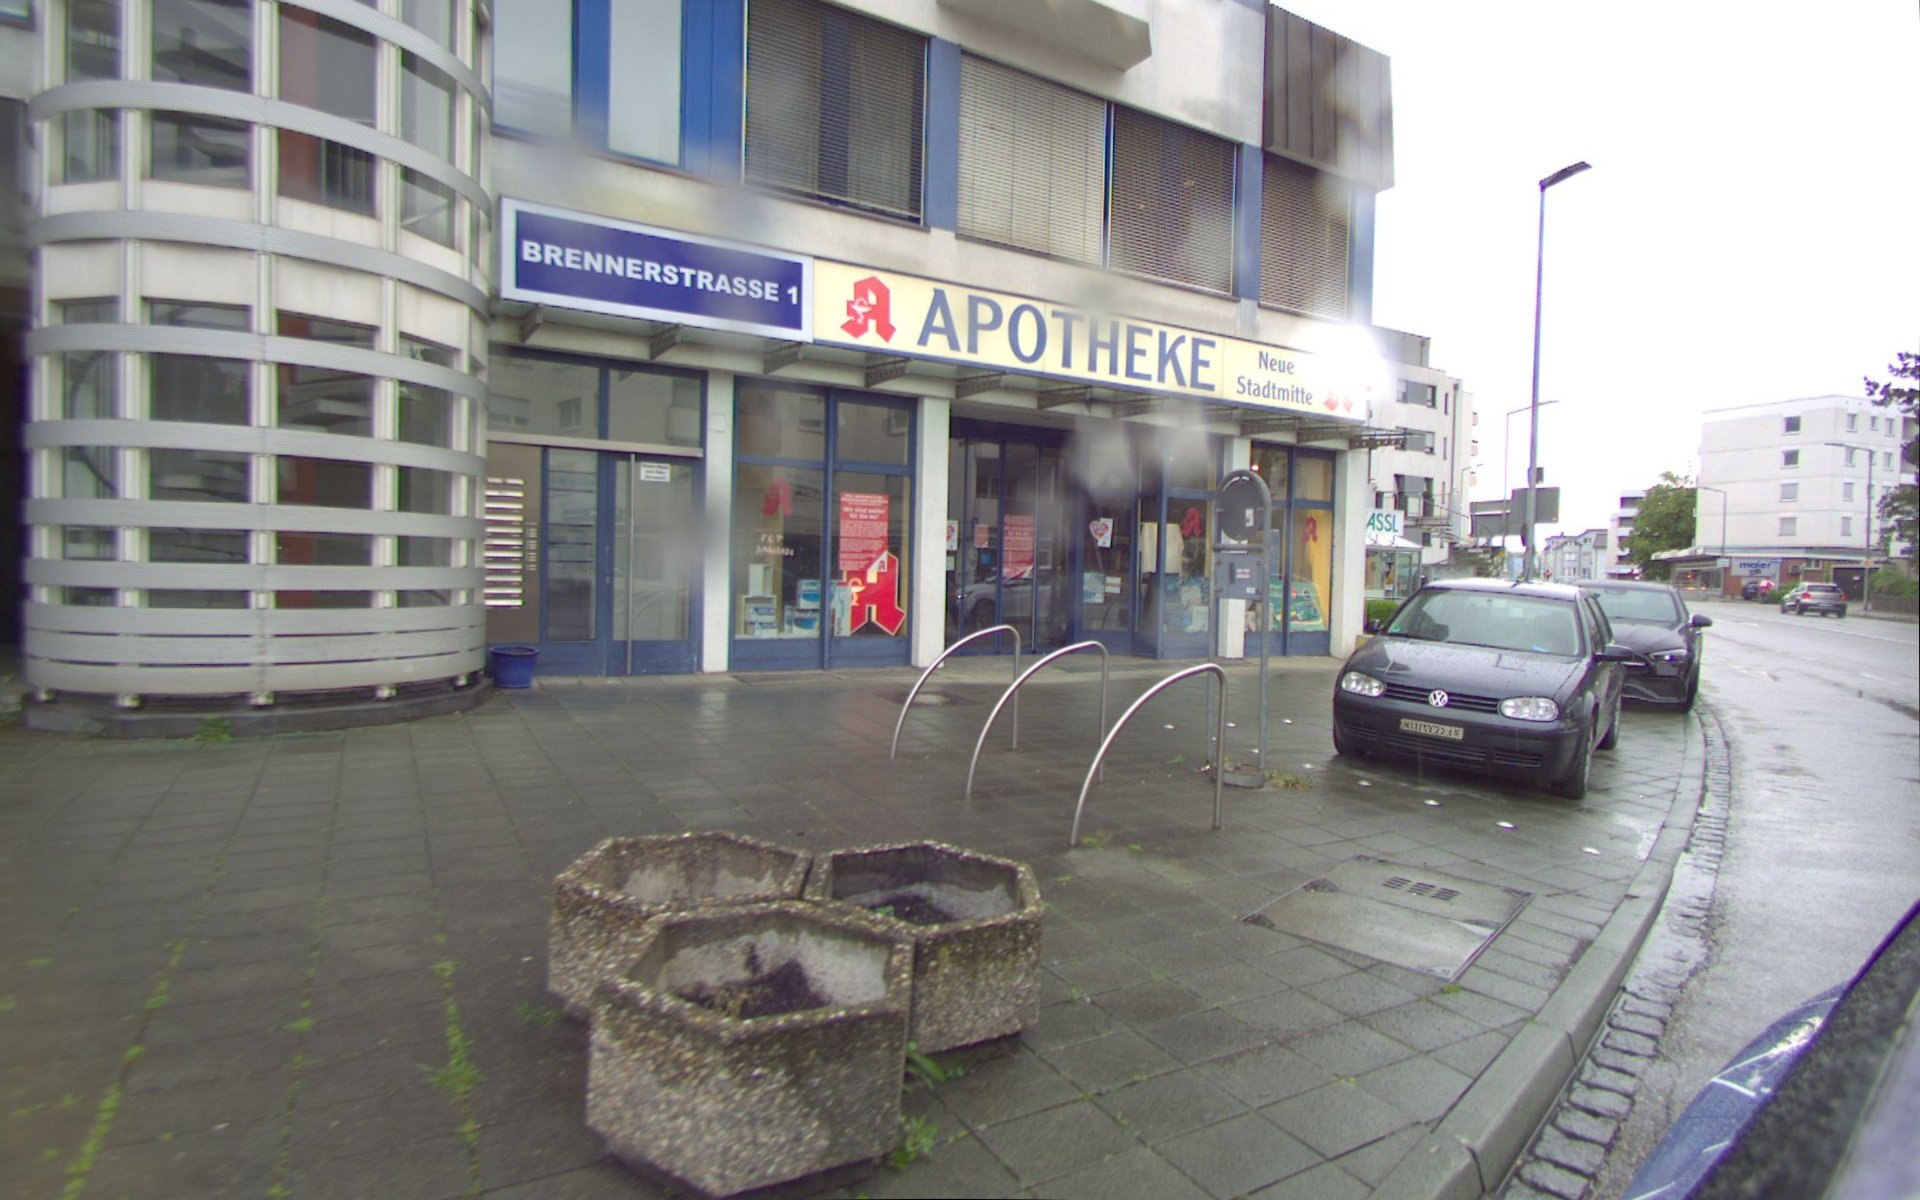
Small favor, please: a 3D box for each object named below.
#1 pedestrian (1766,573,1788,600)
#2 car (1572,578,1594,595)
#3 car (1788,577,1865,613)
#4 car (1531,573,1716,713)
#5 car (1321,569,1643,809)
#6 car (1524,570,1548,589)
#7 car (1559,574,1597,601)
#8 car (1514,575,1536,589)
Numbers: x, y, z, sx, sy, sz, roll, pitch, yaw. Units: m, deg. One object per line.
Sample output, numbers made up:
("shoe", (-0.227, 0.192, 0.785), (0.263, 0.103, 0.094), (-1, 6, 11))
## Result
("pedestrian", (53.732, -0.913, 66.581), (0.845, 1.757, 0.831), (2, 2, 21))
("car", (76.090, -1.673, 123.653), (1.982, 2.039, 3.961), (0, 1, 28))
("car", (38.692, -0.255, 45.288), (1.856, 1.454, 3.703), (2, 2, 29))
("car", (8.435, 0.404, 12.719), (1.650, 1.442, 3.947), (2, 2, 37))
("car", (4.379, 0.506, 8.199), (1.647, 1.388, 3.682), (5, 4, 37))
("car", (49.994, -1.744, 87.845), (1.719, 1.547, 4.022), (2, 1, 29))
("car", (37.281, -0.783, 61.118), (1.720, 1.462, 4.007), (1, 2, 29))
("car", (60.244, -1.912, 107.947), (1.784, 1.385, 3.939), (2, 3, 26))
